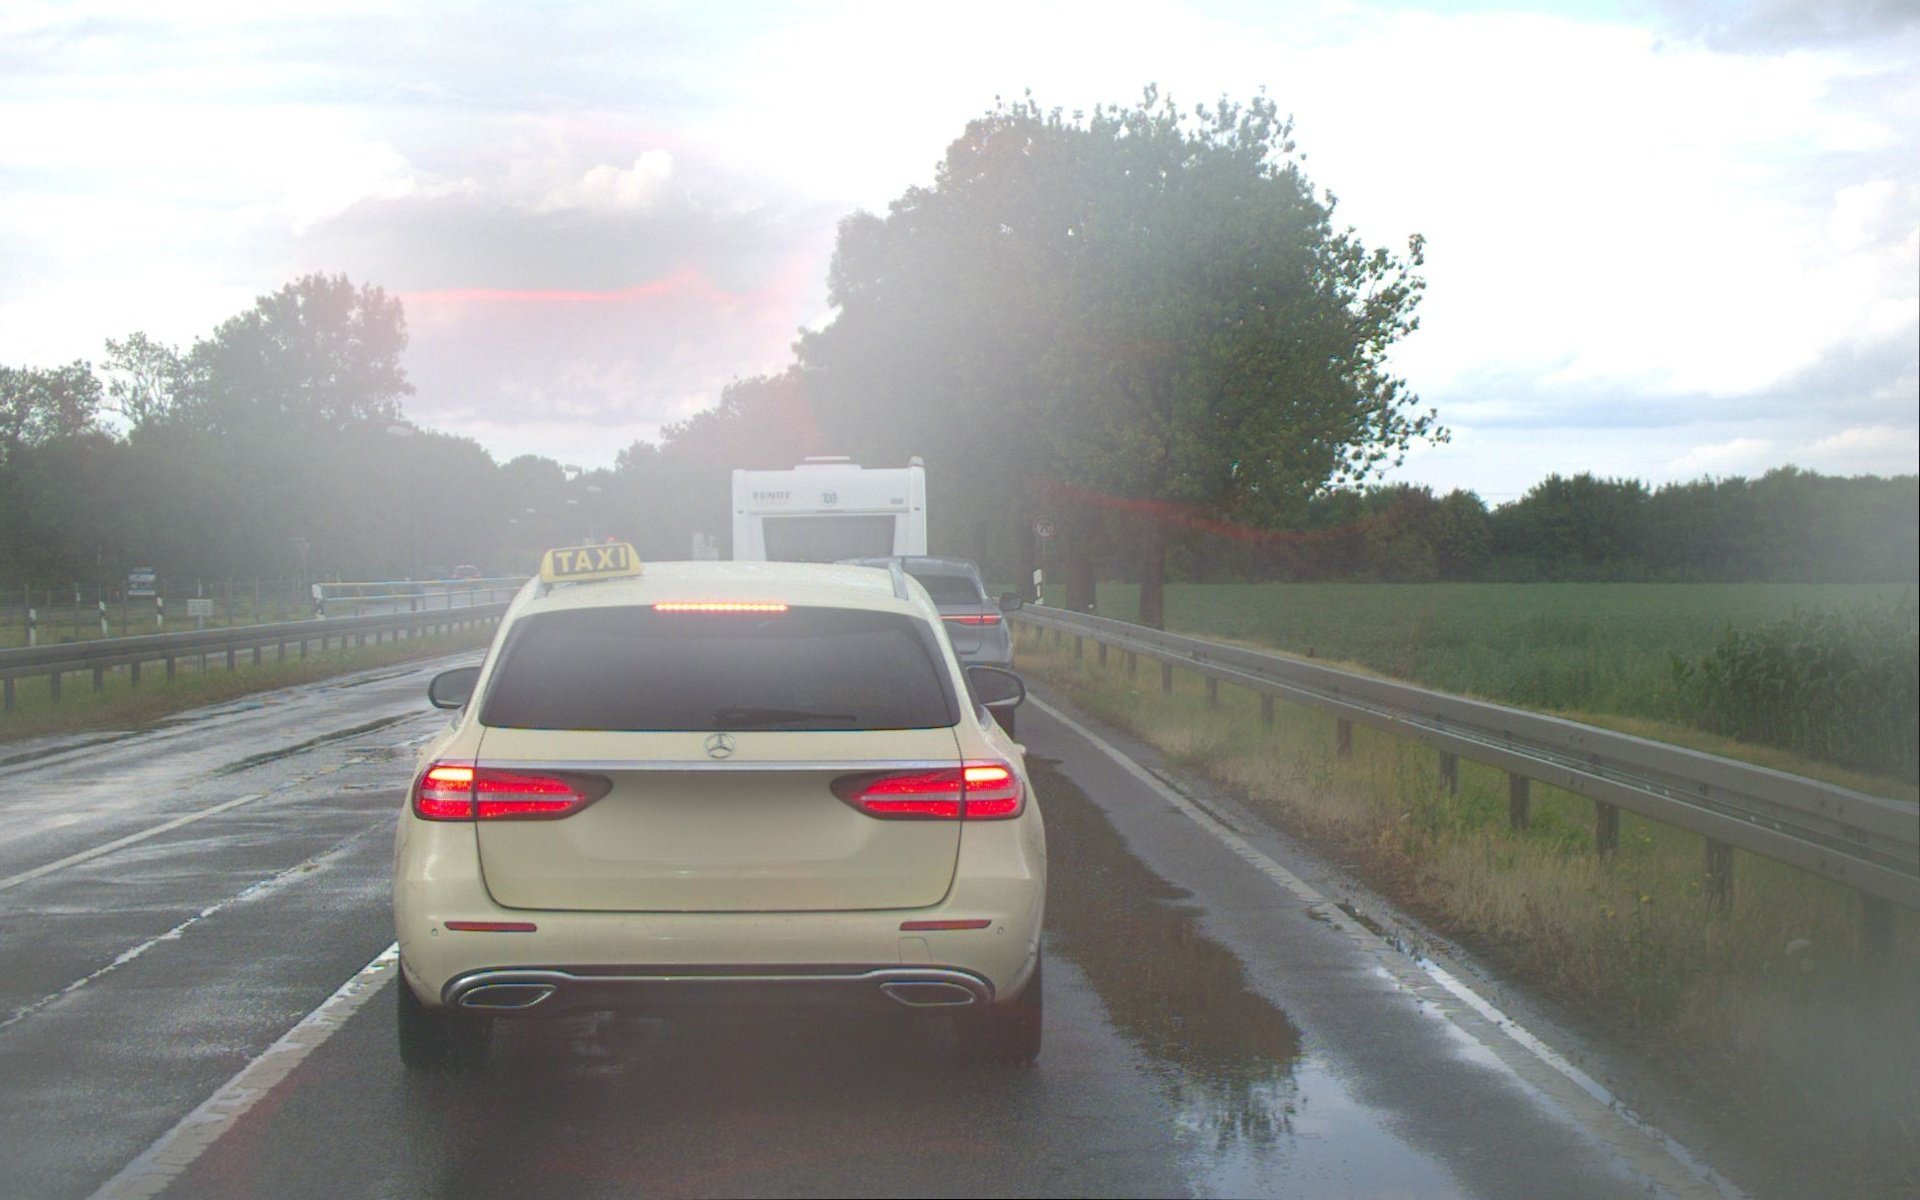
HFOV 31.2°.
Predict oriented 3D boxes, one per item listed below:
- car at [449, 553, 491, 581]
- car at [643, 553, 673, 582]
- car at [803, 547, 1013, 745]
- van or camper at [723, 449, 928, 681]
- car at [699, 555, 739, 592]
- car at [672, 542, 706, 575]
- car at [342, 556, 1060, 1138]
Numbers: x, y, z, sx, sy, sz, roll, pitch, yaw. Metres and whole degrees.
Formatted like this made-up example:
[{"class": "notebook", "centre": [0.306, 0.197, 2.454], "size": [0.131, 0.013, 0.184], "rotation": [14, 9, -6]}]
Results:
[{"class": "car", "centre": [-29.597, -1.991, 207.748], "size": [1.993, 1.645, 4.000], "rotation": [0, 1, 0]}, {"class": "car", "centre": [-21.275, -2.264, 241.788], "size": [1.993, 2.007, 4.001], "rotation": [0, 1, -6]}, {"class": "car", "centre": [-0.447, 0.327, 28.686], "size": [1.627, 1.524, 3.933], "rotation": [0, 1, -1]}, {"class": "van or camper", "centre": [-1.604, -0.462, 42.417], "size": [2.350, 2.671, 5.769], "rotation": [0, 1, -1]}, {"class": "car", "centre": [-13.605, -1.509, 193.947], "size": [1.993, 2.044, 4.000], "rotation": [0, 1, 0]}, {"class": "car", "centre": [-16.243, -2.486, 206.407], "size": [1.993, 2.007, 4.001], "rotation": [0, 1, -4]}, {"class": "car", "centre": [-0.664, 0.605, 10.815], "size": [1.825, 1.480, 4.145], "rotation": [0, 1, 0]}]
